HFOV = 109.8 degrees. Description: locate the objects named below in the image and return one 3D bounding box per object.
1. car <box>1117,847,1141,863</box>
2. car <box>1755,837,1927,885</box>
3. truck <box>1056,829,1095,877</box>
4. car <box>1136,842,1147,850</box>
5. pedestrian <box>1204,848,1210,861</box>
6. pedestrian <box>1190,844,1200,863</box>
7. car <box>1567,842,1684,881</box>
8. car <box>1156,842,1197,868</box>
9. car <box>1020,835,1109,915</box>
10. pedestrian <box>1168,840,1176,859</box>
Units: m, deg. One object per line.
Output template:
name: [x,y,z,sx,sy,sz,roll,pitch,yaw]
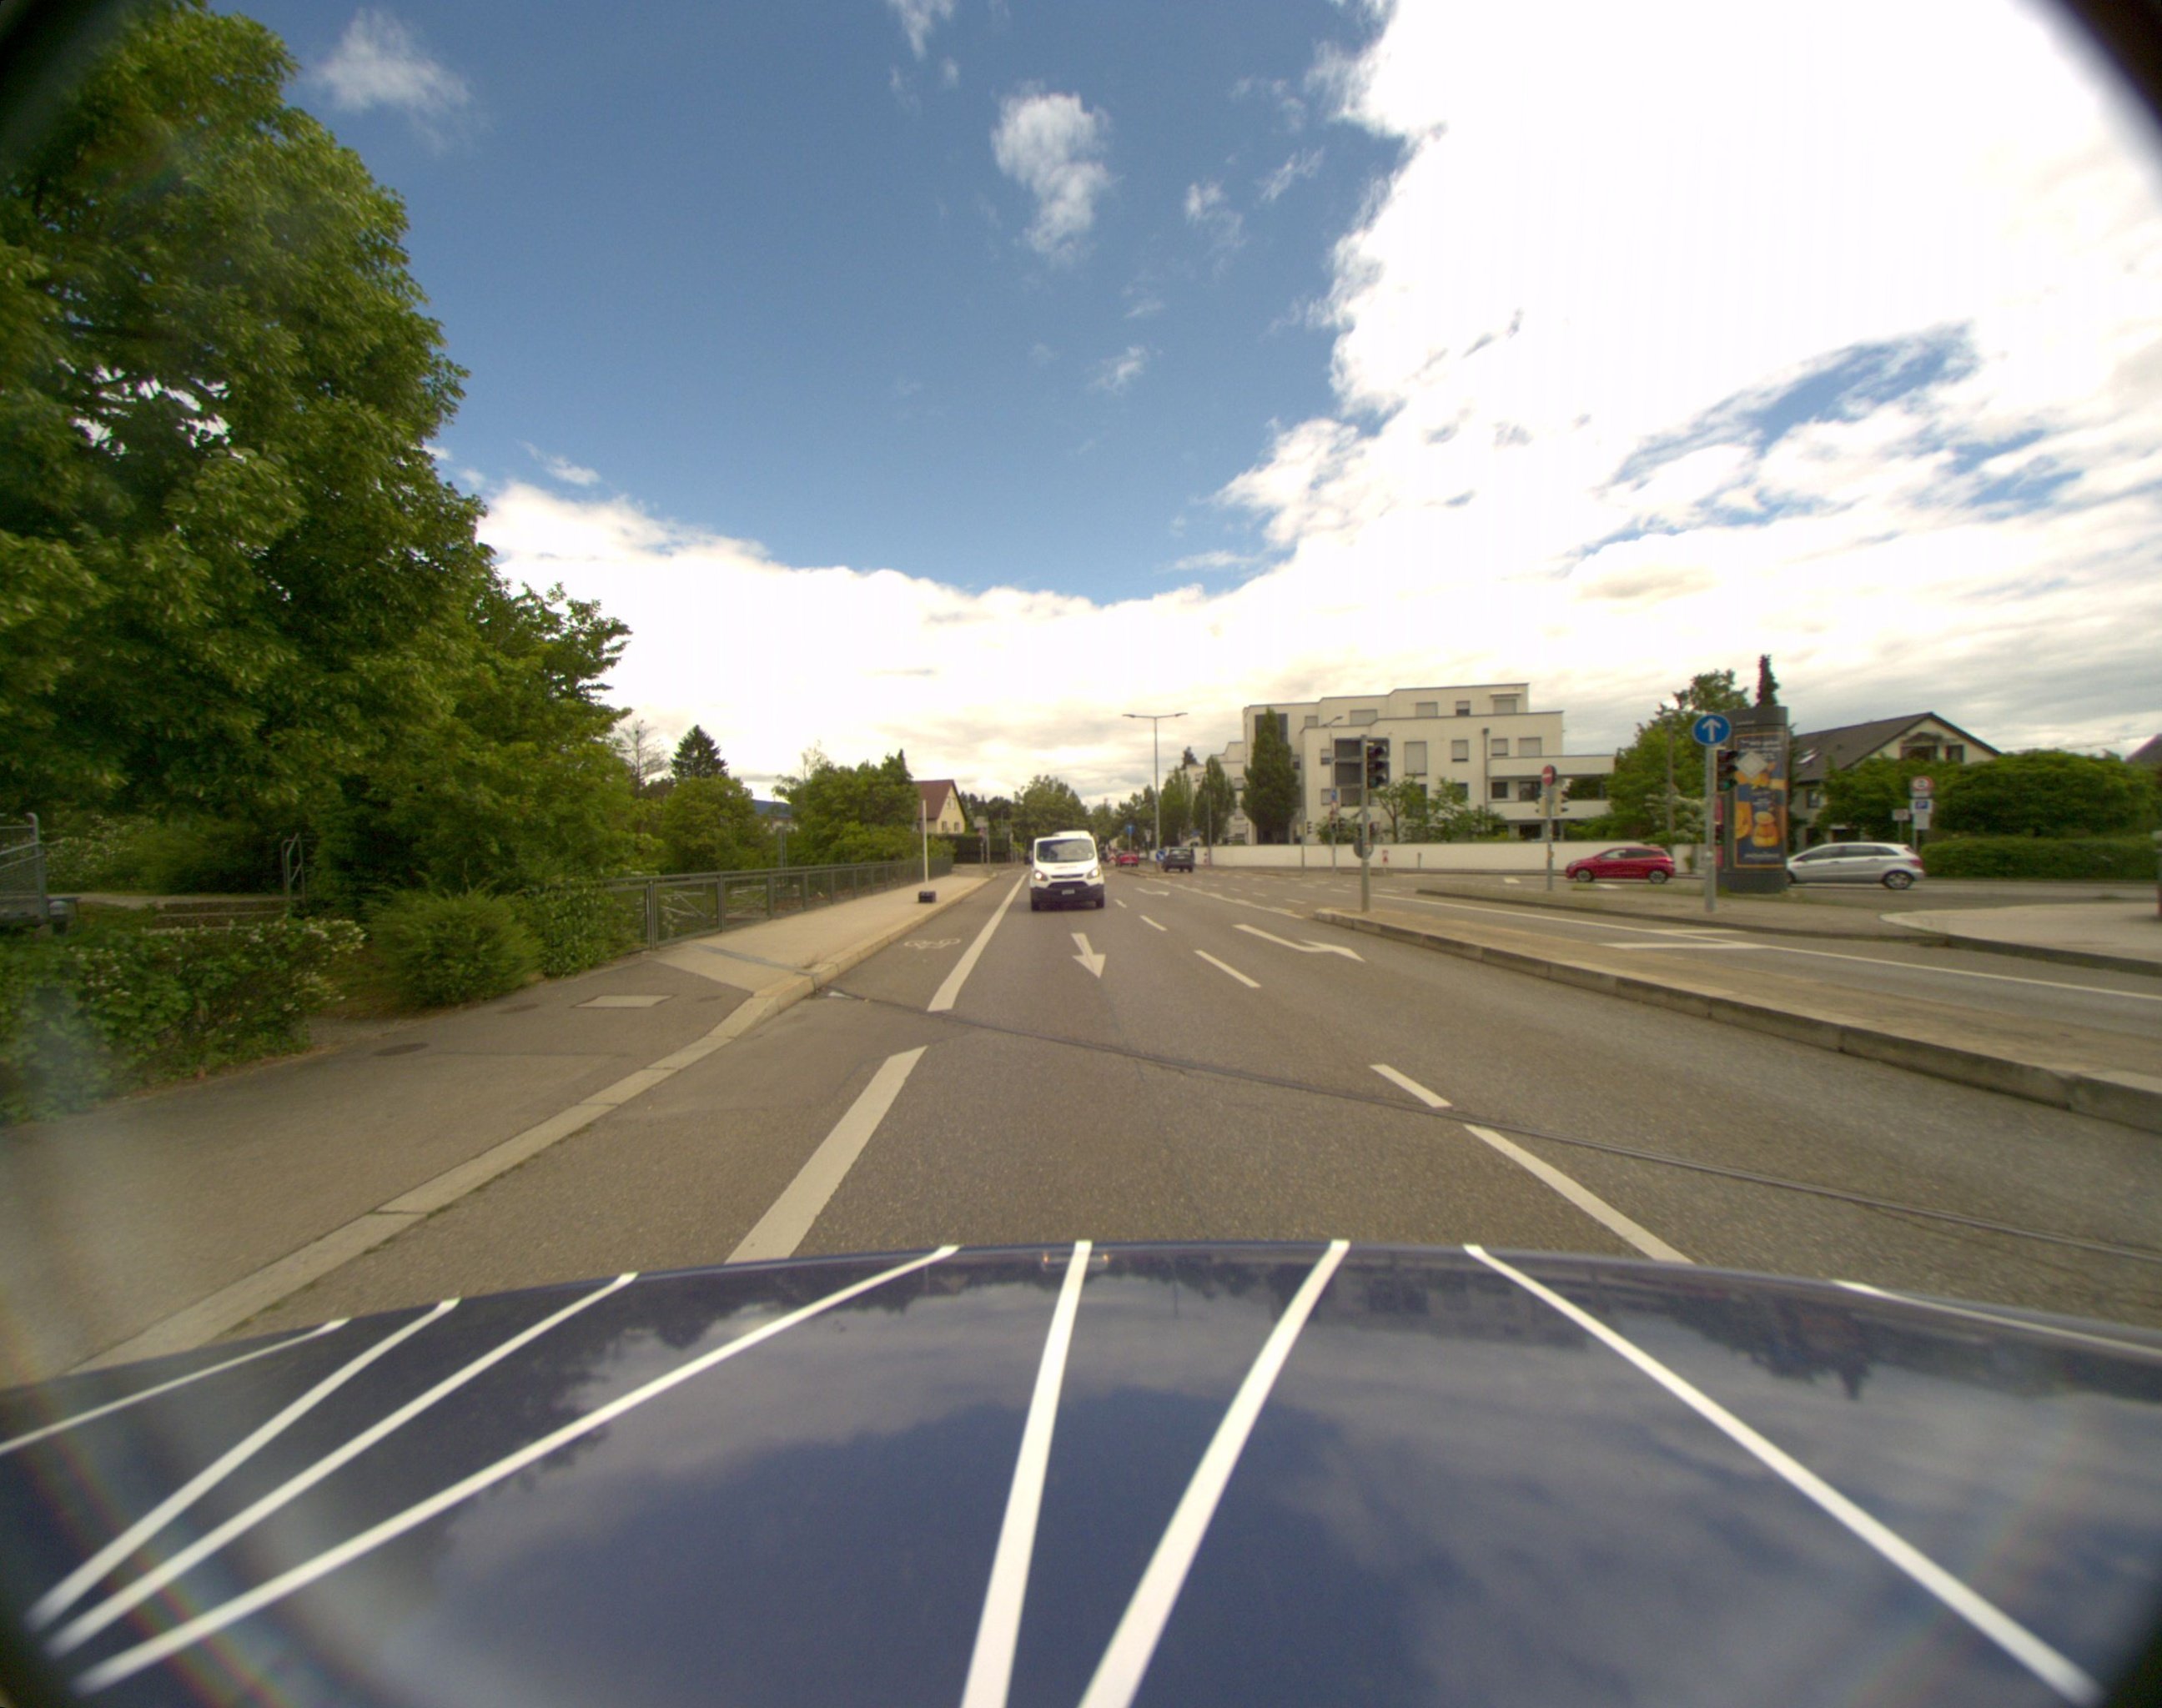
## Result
car: [4.411,0.079,70.402,1.725,1.440,4.064,0,1,-4]
car: [26.449,0.205,26.654,4.117,1.526,1.651,2,1,43]
truck: [-0.365,-0.092,43.413,2.036,2.556,6.055,0,1,-2]
car: [12.793,-1.637,160.004,1.915,1.643,4.003,0,1,10]
pedestrian: [10.196,0.036,61.480,0.326,1.056,0.444,-5,1,-4]
pedestrian: [9.451,-0.073,63.032,0.533,1.534,0.731,-6,1,-5]
car: [22.109,0.253,30.895,3.692,1.439,1.779,1,3,41]
car: [6.115,0.056,49.154,1.828,1.617,4.276,0,1,-4]
car: [-0.313,0.513,21.994,2.075,1.956,5.558,-2,1,3]
pedestrian: [9.877,-0.502,82.666,0.650,1.937,0.871,-4,2,-2]
